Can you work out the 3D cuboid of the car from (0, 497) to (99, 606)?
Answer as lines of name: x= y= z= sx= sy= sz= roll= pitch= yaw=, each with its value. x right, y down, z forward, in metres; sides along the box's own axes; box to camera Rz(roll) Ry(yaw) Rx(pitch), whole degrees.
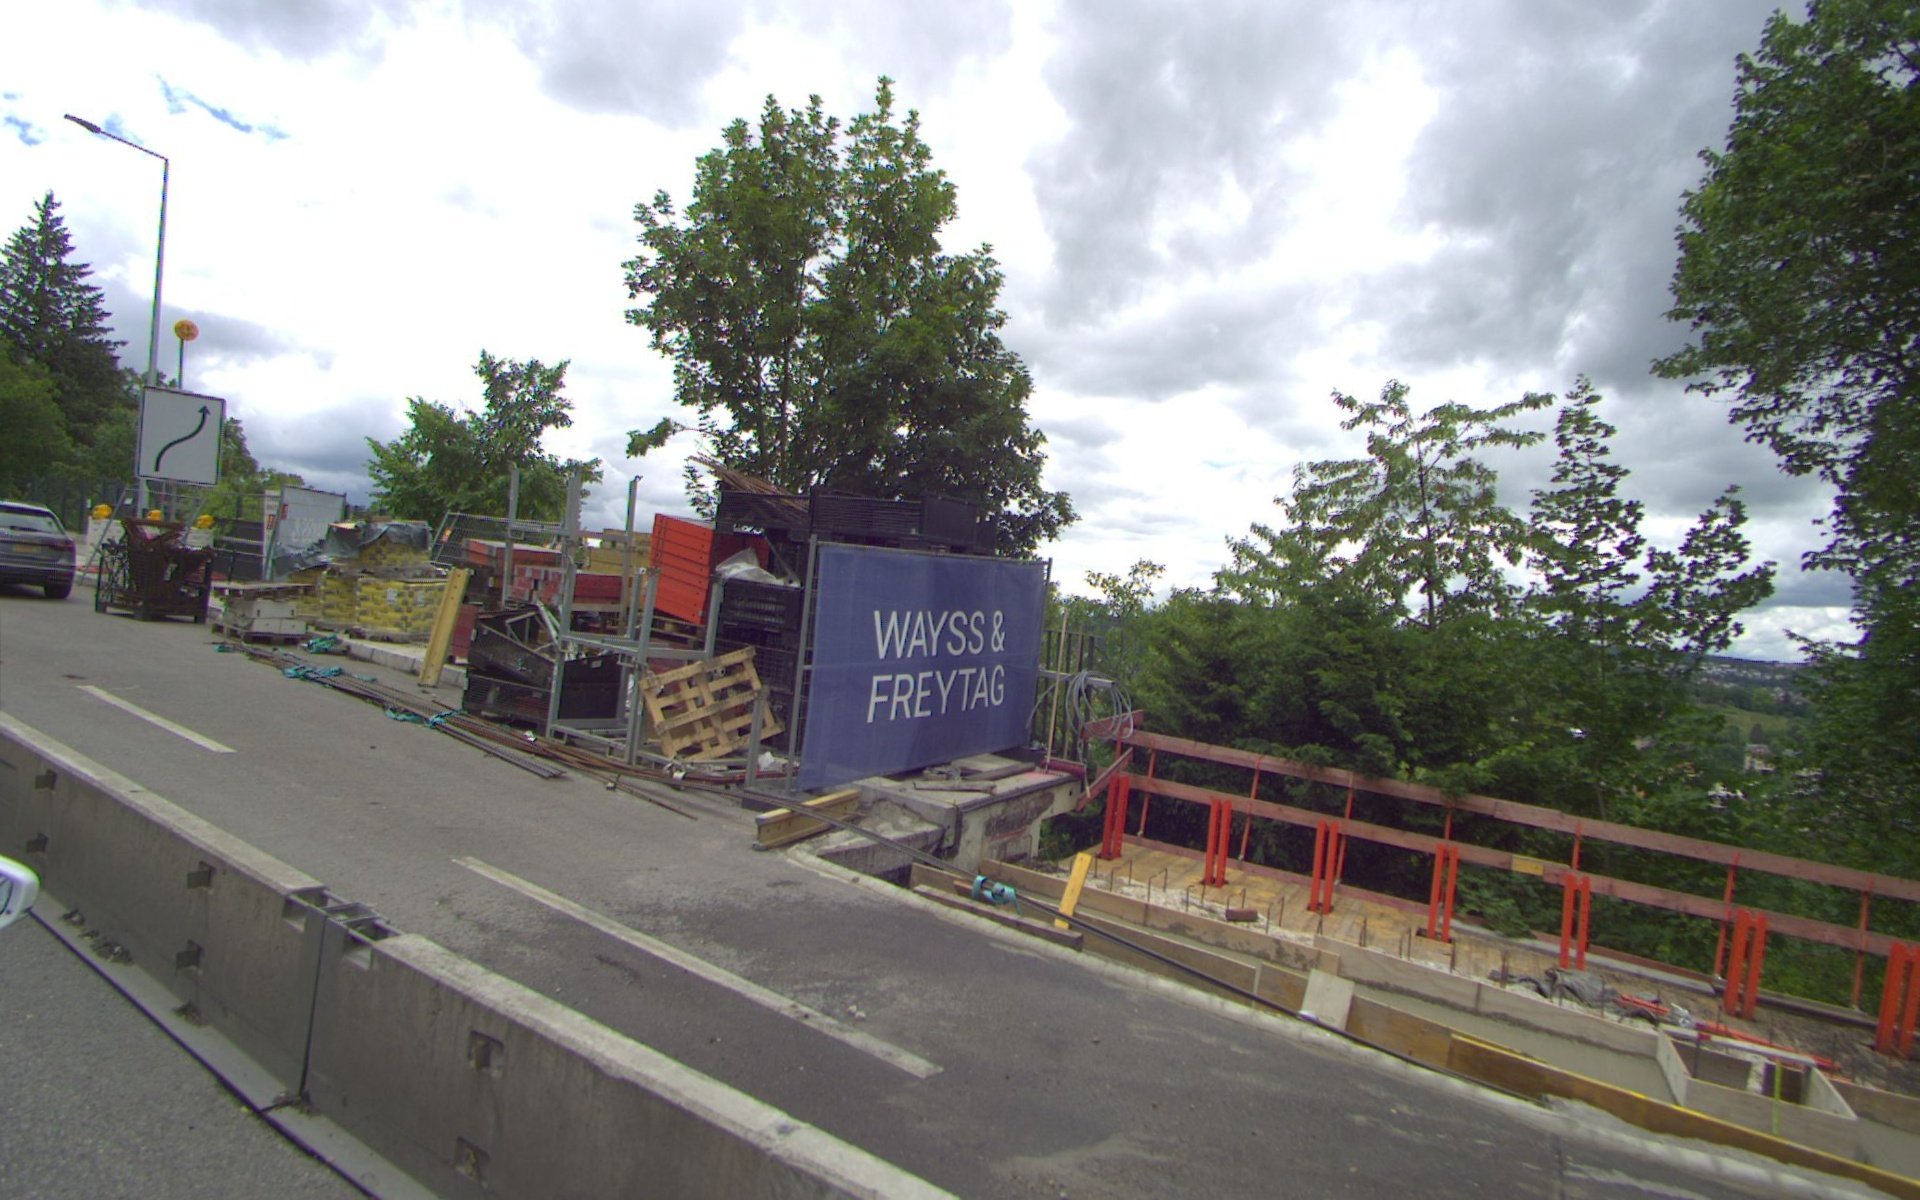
car: x=-15.531 y=-0.937 z=15.836 sx=4.555 sy=1.472 sz=1.841 roll=7 pitch=-1 yaw=35
